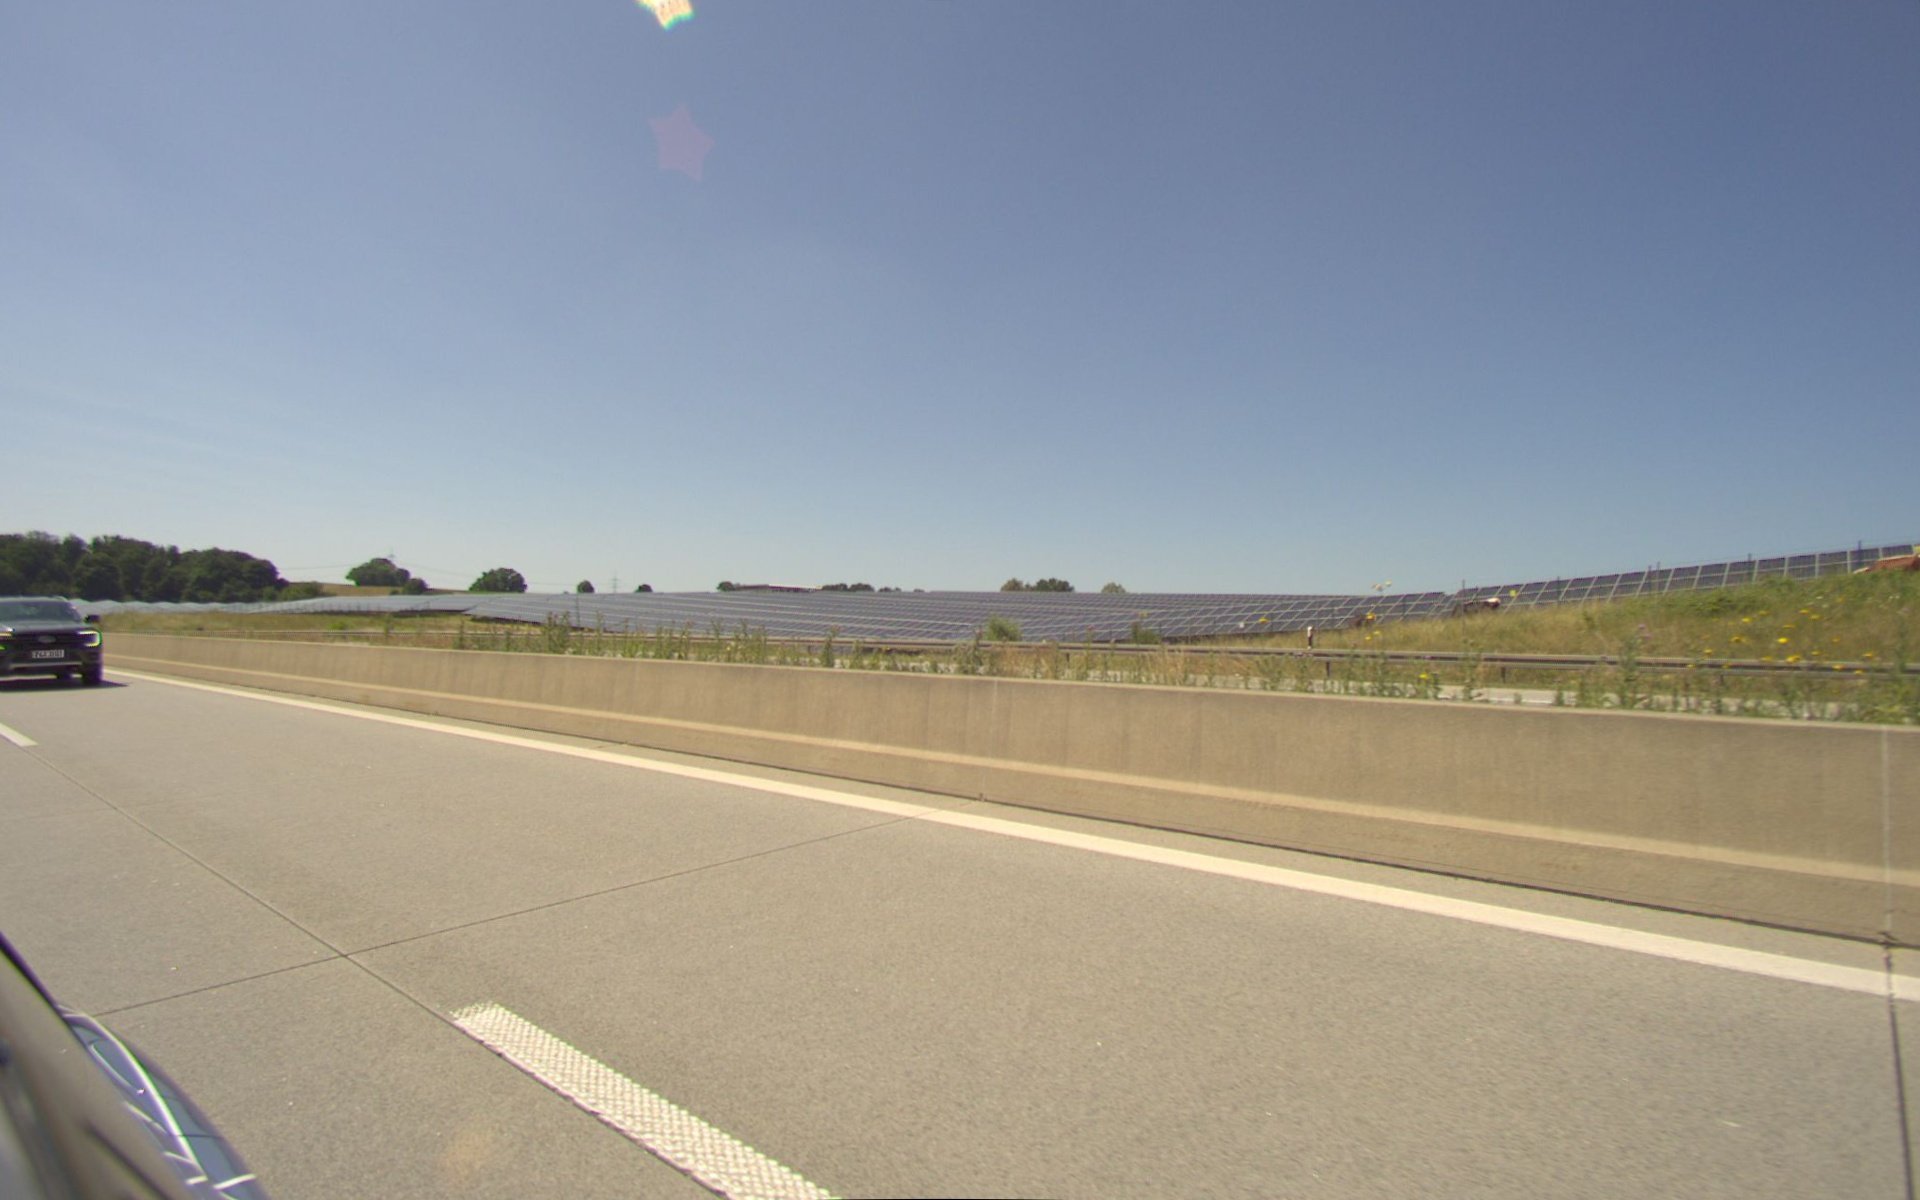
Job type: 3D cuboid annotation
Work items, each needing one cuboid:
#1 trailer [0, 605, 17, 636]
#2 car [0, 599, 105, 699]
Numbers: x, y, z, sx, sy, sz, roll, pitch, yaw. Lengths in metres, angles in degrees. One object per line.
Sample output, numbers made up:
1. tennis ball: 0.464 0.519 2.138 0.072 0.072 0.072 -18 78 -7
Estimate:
1. trailer: -133.912 2.801 140.160 14.128 4.035 3.059 -1 -1 40
2. car: -20.117 0.961 21.677 6.529 1.860 1.972 -1 0 43
